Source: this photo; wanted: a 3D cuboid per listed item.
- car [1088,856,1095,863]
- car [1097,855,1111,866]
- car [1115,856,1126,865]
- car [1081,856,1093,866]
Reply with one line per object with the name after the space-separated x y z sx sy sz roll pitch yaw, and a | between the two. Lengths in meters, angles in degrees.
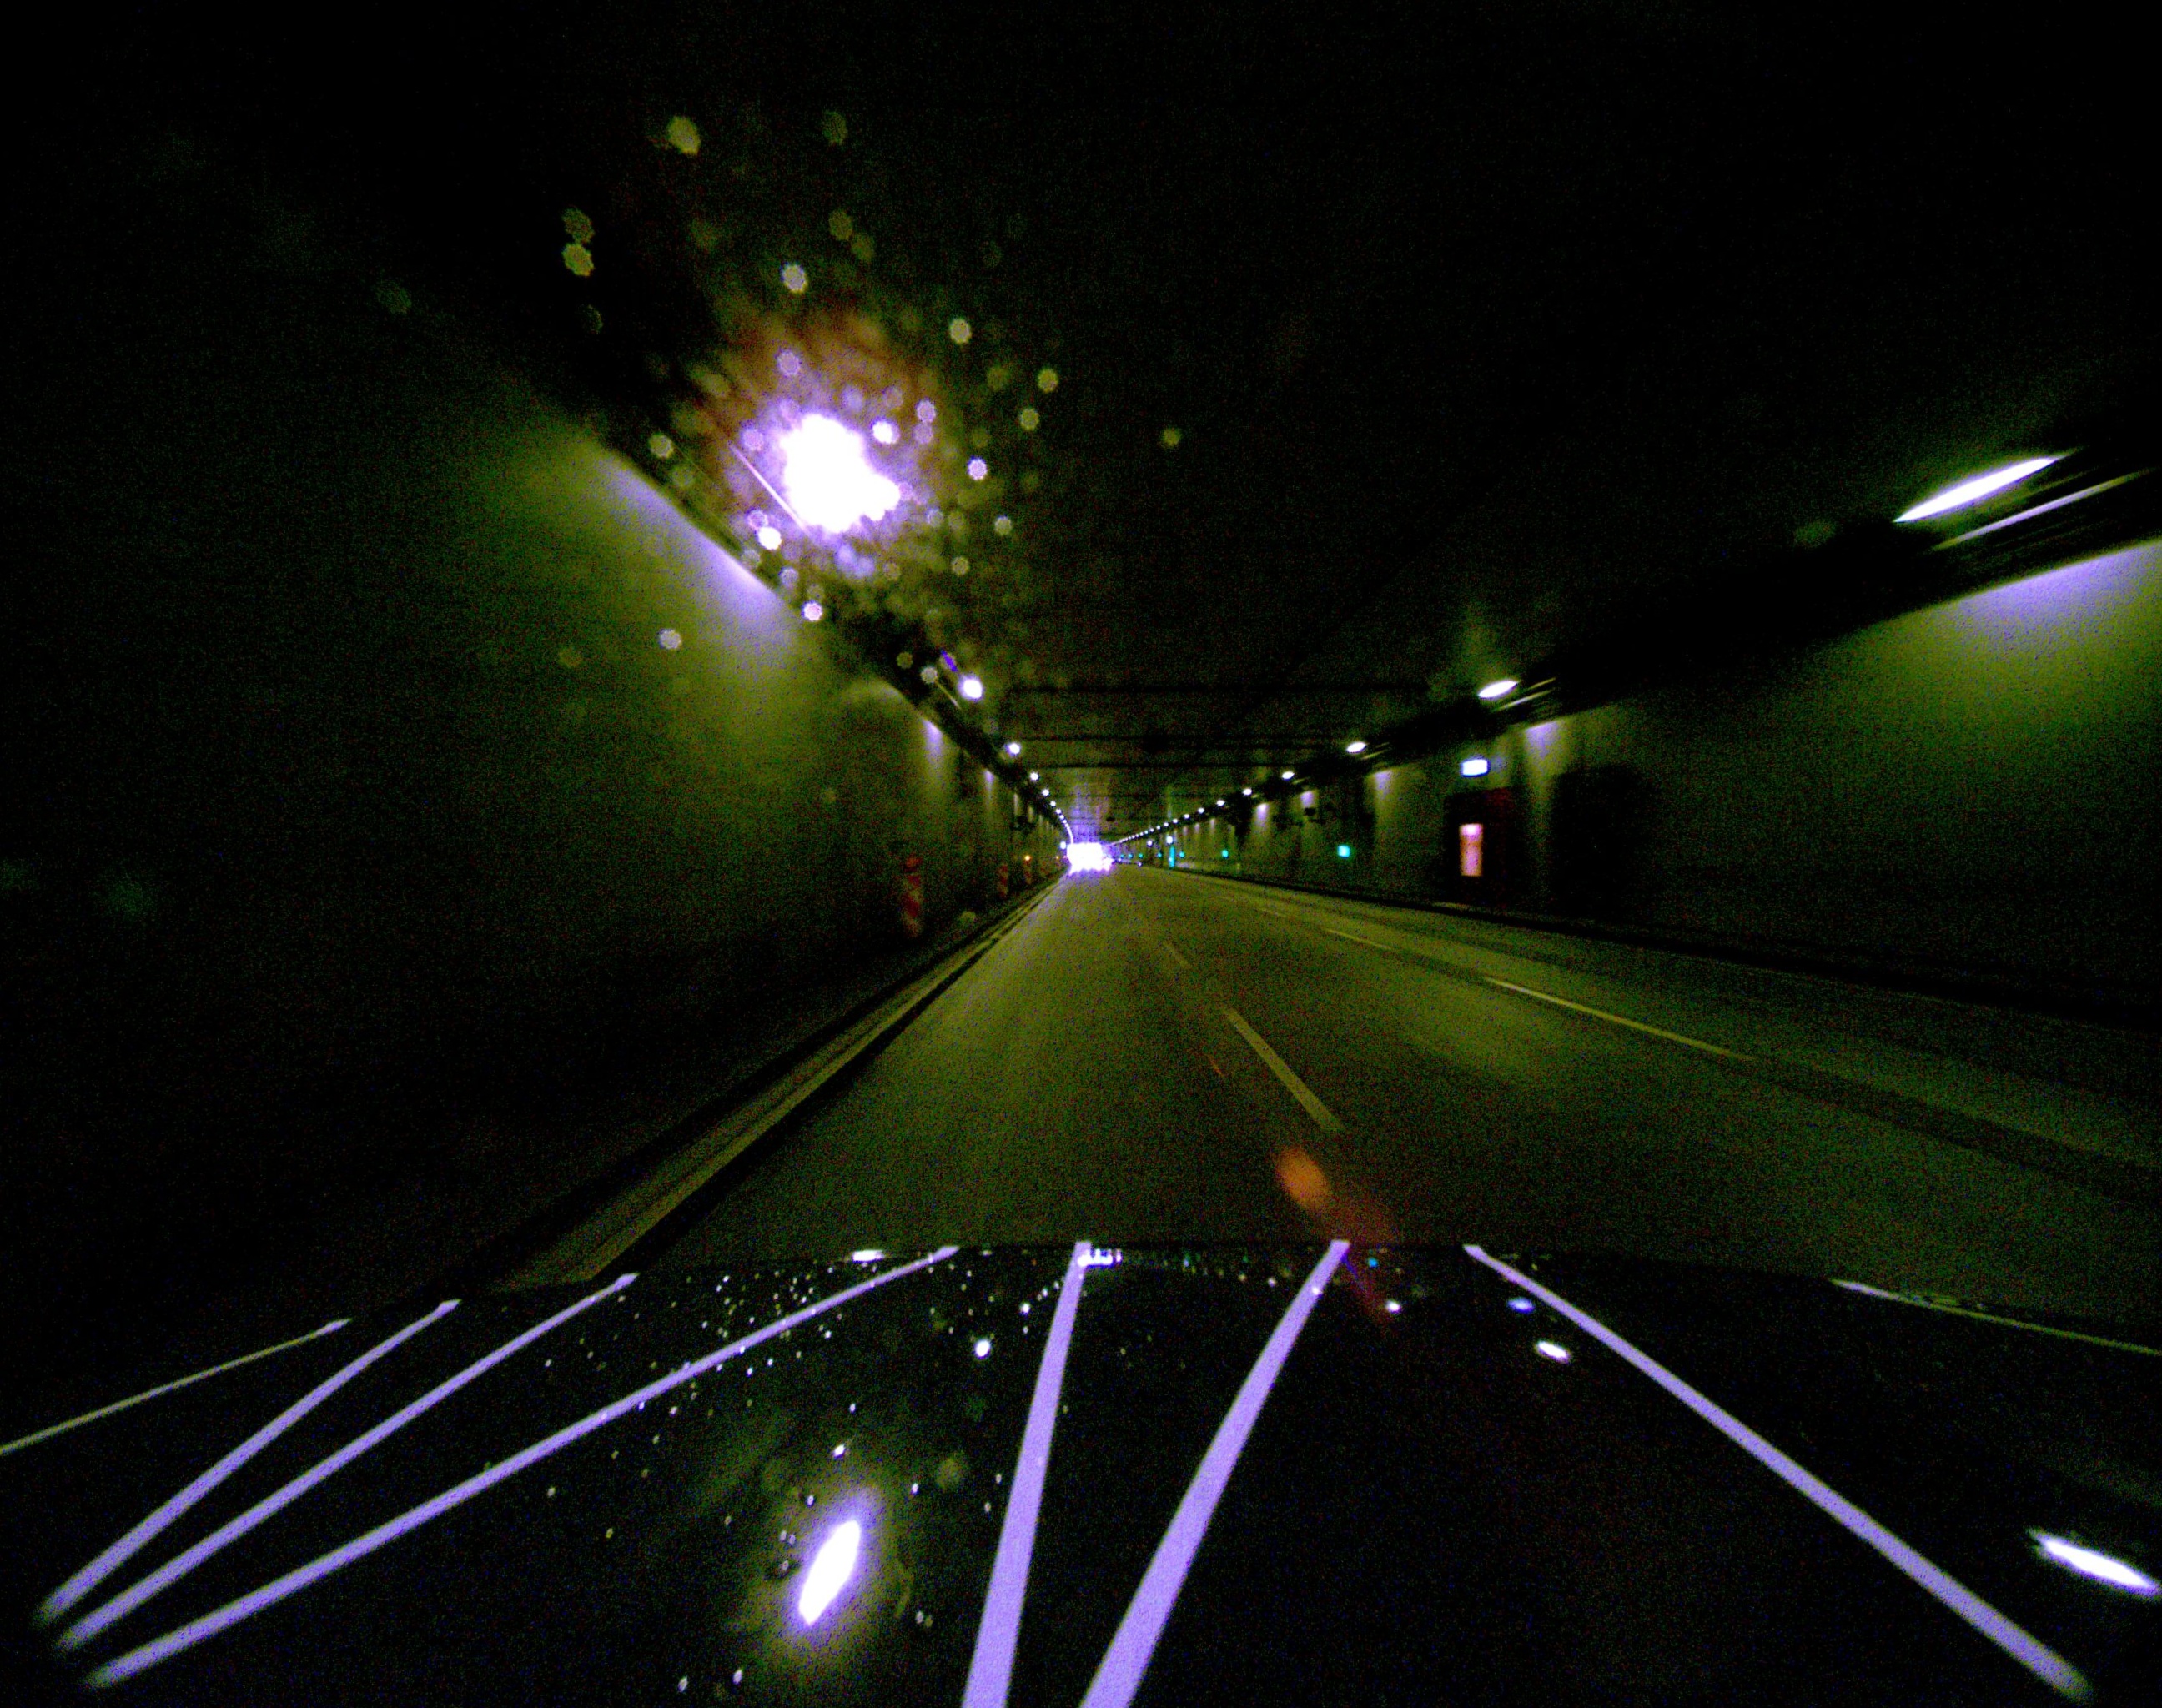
2.947 1.516 211.974 1.998 1.756 4.000 -1 0 1 | car
3.871 1.122 125.153 1.998 1.685 4.001 -3 0 5 | car
7.289 1.173 140.241 1.998 1.685 4.001 0 -1 1 | car
1.069 1.266 133.911 1.998 1.685 4.000 -1 0 1 | car
